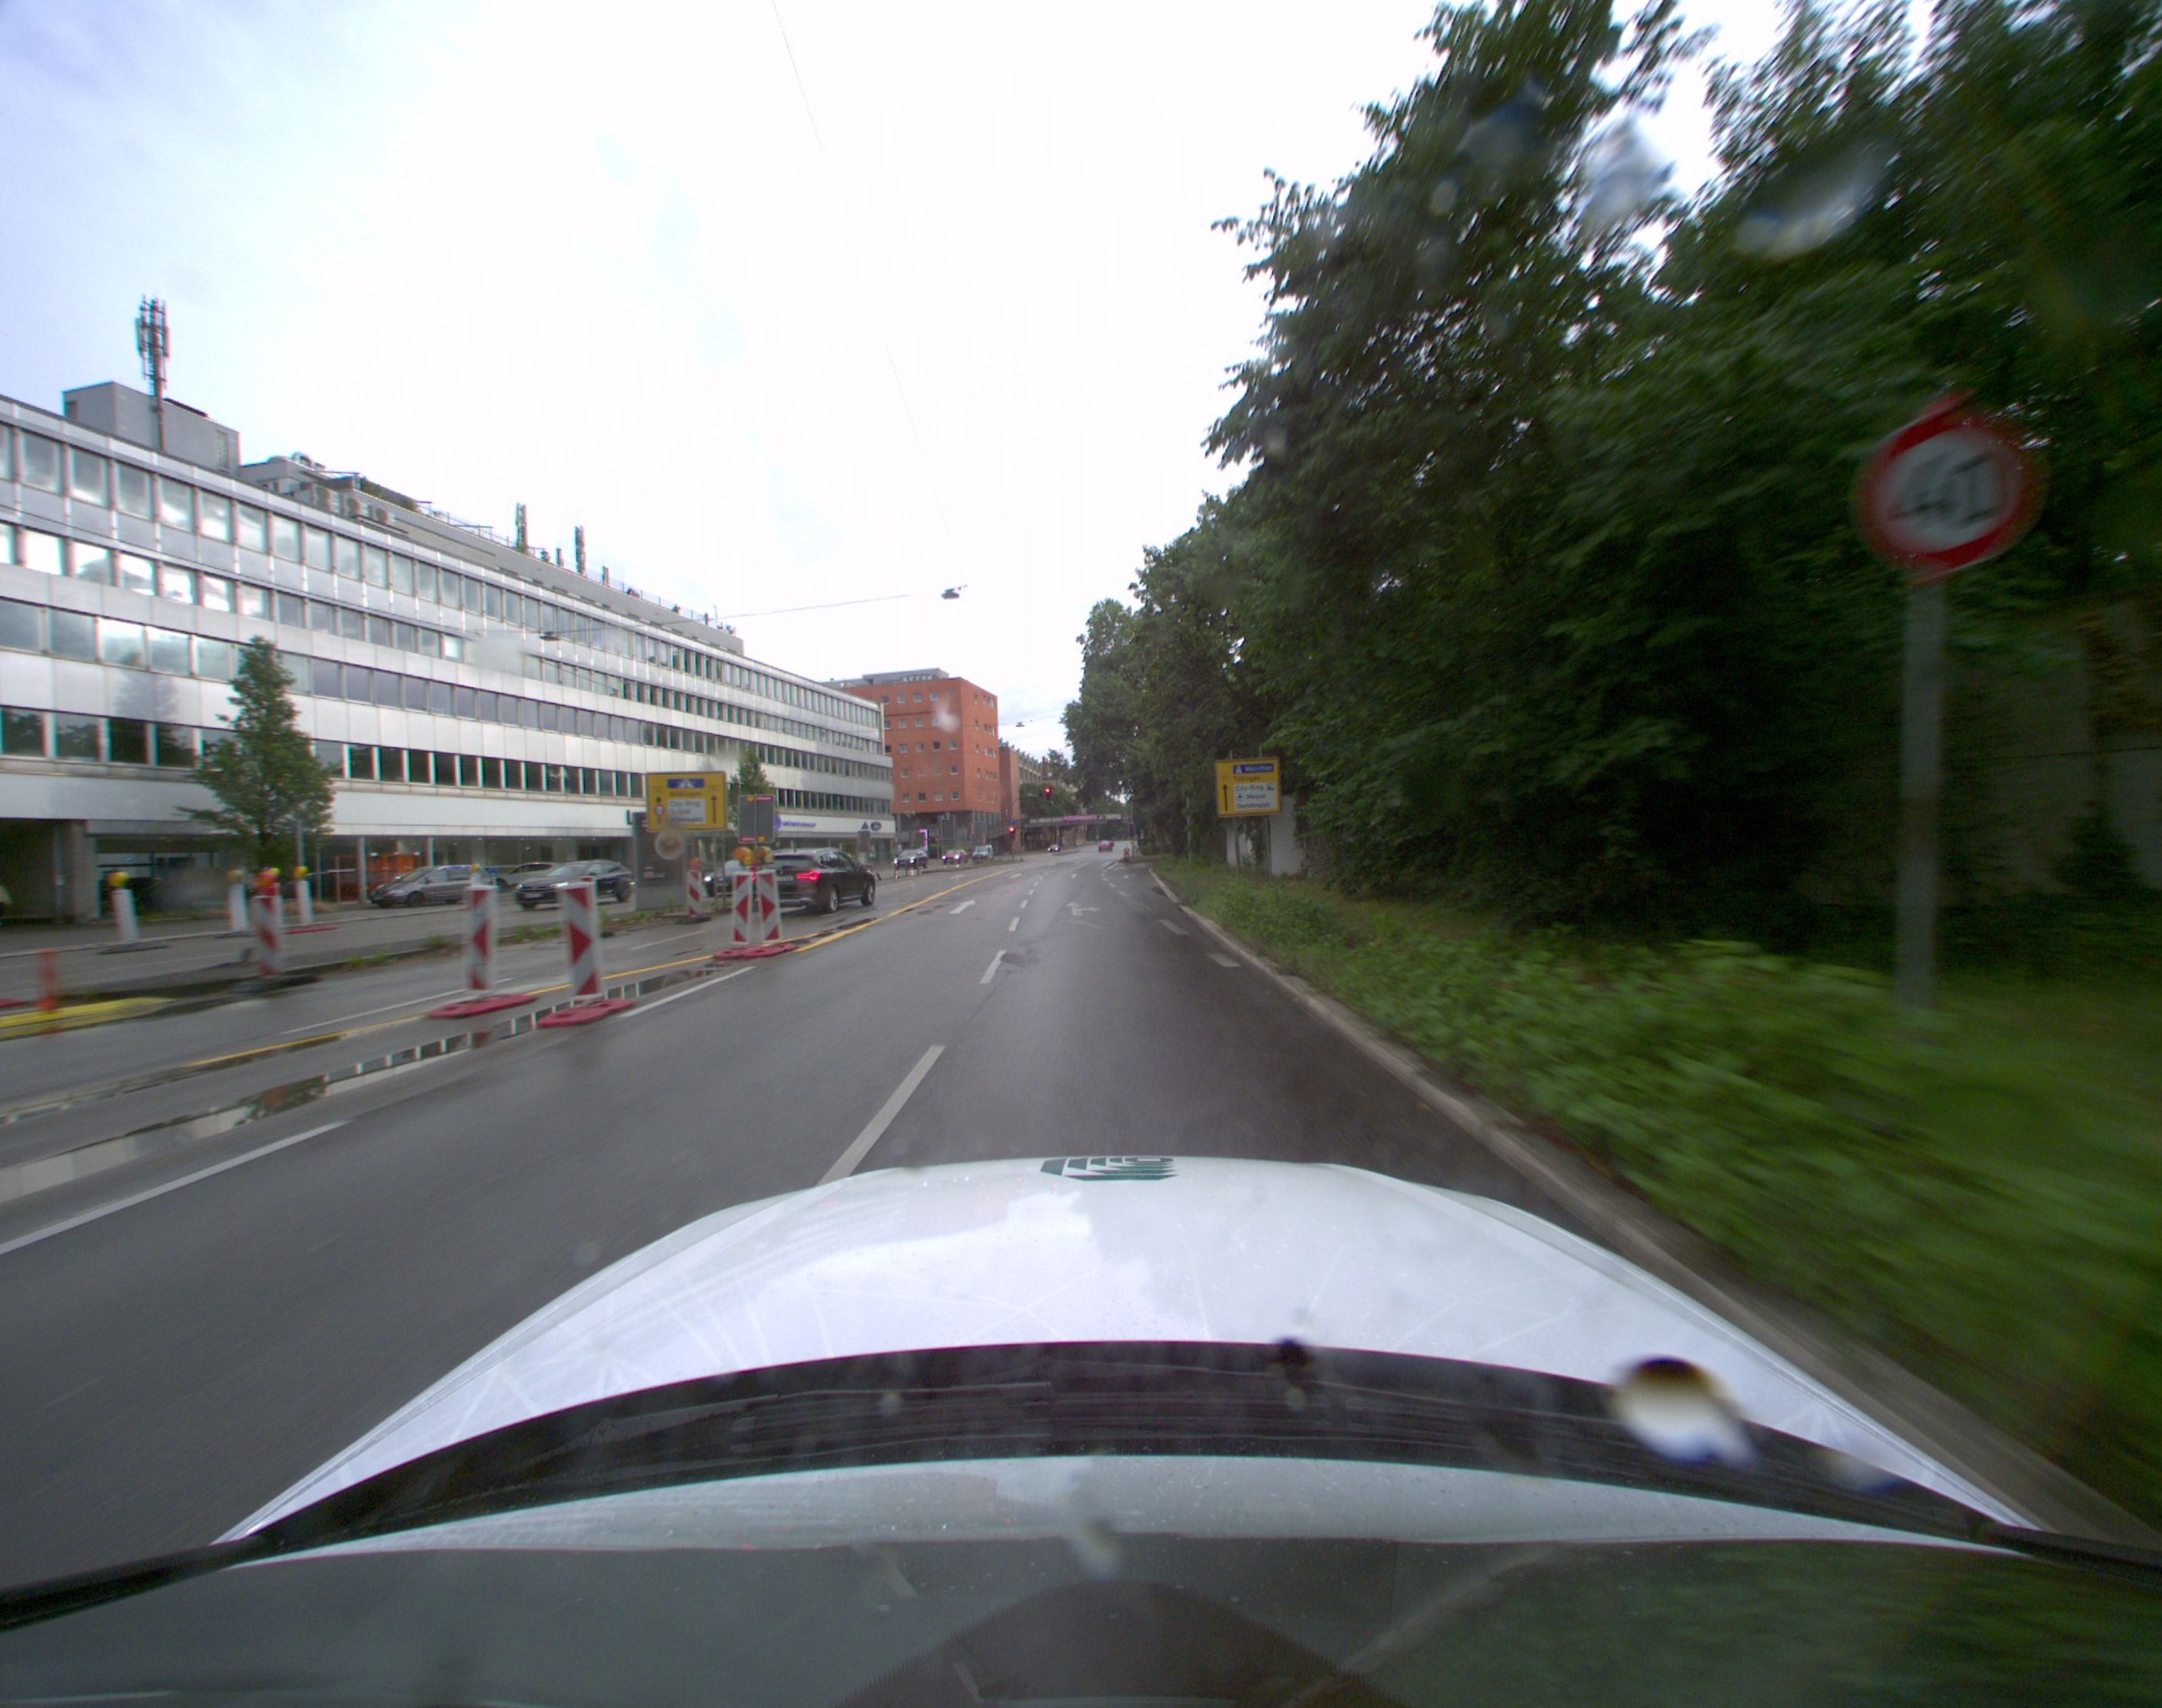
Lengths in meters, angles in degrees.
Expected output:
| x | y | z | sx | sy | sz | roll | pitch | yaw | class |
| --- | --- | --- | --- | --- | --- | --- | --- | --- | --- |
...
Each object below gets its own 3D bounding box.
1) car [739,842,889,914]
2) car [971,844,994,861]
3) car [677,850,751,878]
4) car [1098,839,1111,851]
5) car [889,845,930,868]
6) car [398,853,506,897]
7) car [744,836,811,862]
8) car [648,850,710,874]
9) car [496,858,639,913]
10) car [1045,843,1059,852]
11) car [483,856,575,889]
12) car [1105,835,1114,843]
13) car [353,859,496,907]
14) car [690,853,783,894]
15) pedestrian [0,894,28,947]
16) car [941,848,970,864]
| x | y | z | sx | sy | sz | roll | pitch | yaw | class |
| --- | --- | --- | --- | --- | --- | --- | --- | --- | --- |
| -6.846 | 0.528 | 21.546 | 1.937 | 1.597 | 4.680 | 0 | 2 | 7 | car |
| -11.315 | -0.204 | 93.957 | 1.725 | 1.786 | 4.308 | -3 | 1 | 5 | car |
| -29.626 | 0.820 | 65.854 | 5.014 | 1.897 | 1.977 | -4 | 1 | -39 | car |
| 3.748 | -1.423 | 130.066 | 2.112 | 1.734 | 4.201 | 0 | 2 | 2 | car |
| -14.118 | 0.188 | 67.335 | 1.835 | 1.737 | 4.615 | -3 | 1 | 8 | car |
| -33.518 | 1.074 | 43.530 | 4.000 | 2.013 | 1.987 | -4 | 1 | -20 | car |
| -26.994 | -0.429 | 72.536 | 5.223 | 2.011 | 1.980 | -4 | 1 | -31 | car |
| -30.033 | 0.597 | 60.941 | 4.006 | 1.574 | 1.984 | -4 | 1 | -25 | car |
| -16.800 | 0.978 | 26.907 | 1.742 | 1.513 | 4.009 | -3 | 0 | 8 | car |
| -5.144 | -1.116 | 146.363 | 1.984 | 1.519 | 4.006 | -2 | 1 | 5 | car |
| -32.973 | 1.074 | 48.847 | 4.402 | 1.651 | 1.835 | -4 | 1 | -32 | car |
| 6.395 | -3.303 | 183.196 | 1.755 | 1.696 | 3.710 | -3 | 1 | 4 | car |
| -29.079 | 1.224 | 36.303 | 1.835 | 1.779 | 4.747 | -3 | 1 | 13 | car |
| -13.266 | 0.706 | 31.641 | 1.682 | 1.354 | 4.117 | -3 | 1 | 2 | car |
| -35.991 | 2.231 | 27.240 | 0.671 | 1.720 | 0.700 | -4 | 1 | -32 | pedestrian |
| -12.677 | 0.190 | 82.410 | 1.820 | 1.502 | 4.380 | -3 | 1 | 6 | car |
